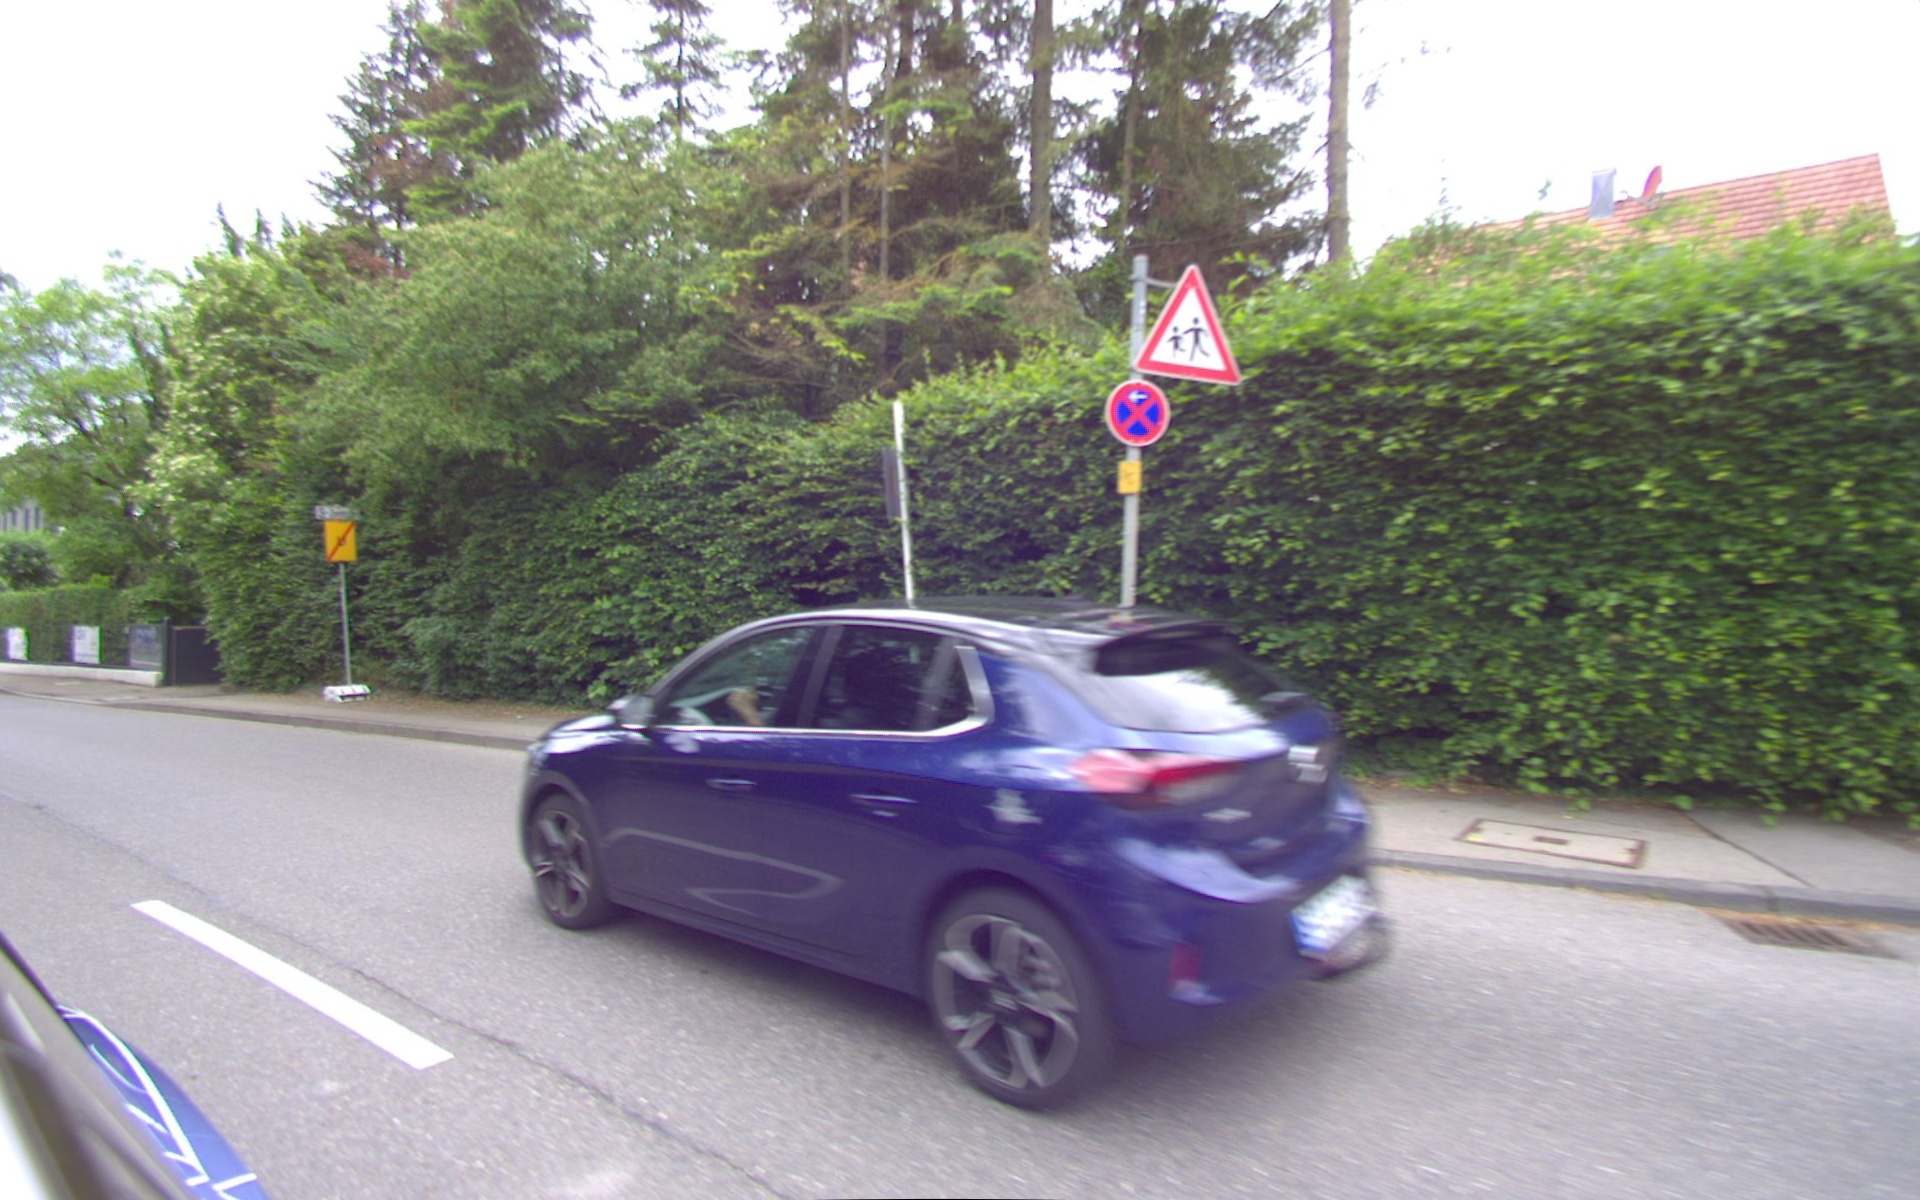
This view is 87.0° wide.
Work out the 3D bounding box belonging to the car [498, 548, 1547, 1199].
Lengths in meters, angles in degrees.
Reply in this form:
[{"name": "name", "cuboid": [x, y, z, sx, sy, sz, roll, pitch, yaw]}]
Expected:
[{"name": "car", "cuboid": [-0.108, 0.665, 4.159, 4.091, 1.450, 1.738, -2, -1, 41]}]
